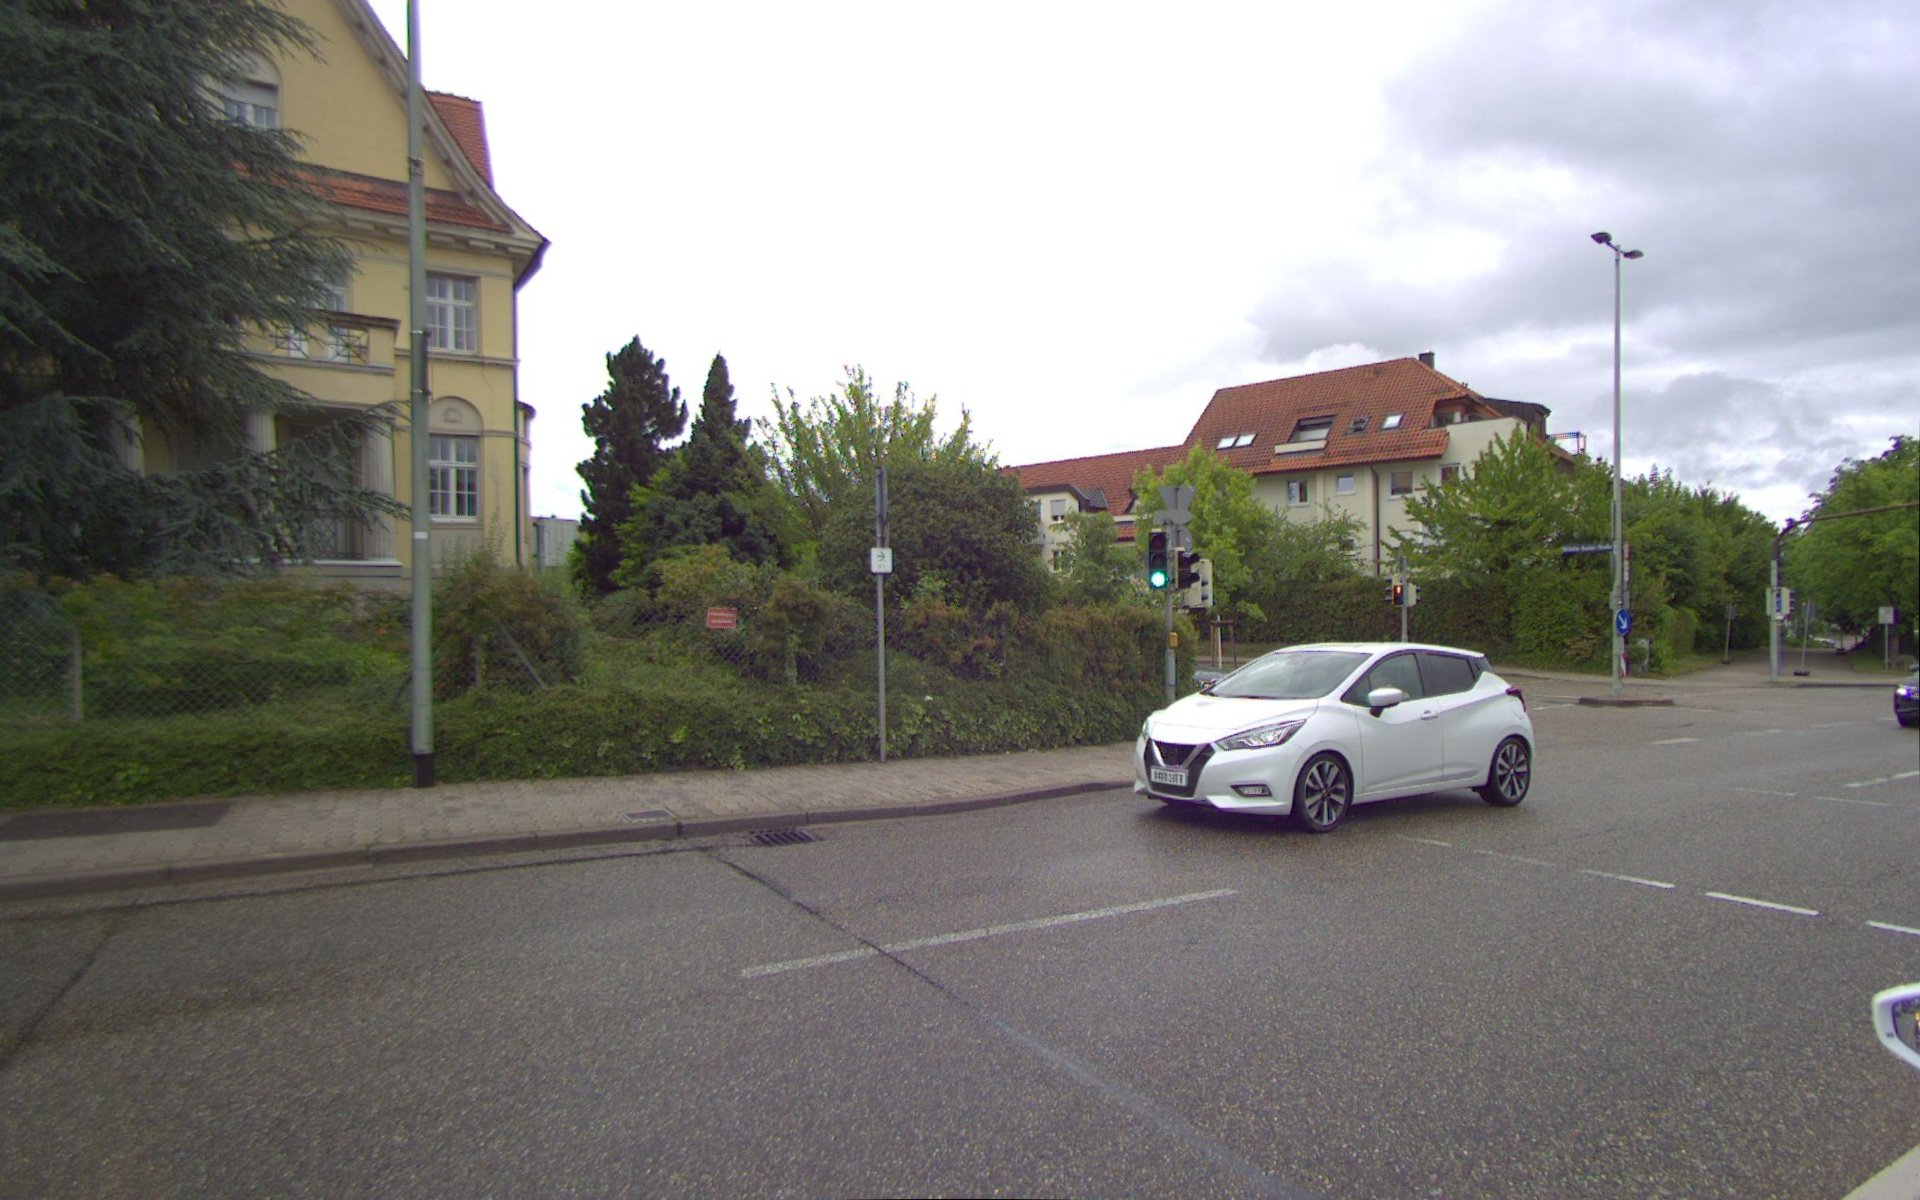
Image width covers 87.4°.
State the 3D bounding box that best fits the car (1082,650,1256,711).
[{"bbox_3d":[5.320,2.048,26.131,1.759,1.411,4.392,0,-3,-35],"label":"car"}]

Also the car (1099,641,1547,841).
[{"bbox_3d":[3.253,1.093,8.882,3.758,1.415,1.738,1,-4,-31],"label":"car"}]

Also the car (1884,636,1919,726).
[{"bbox_3d":[18.228,1.401,17.670,4.421,1.522,1.767,2,-2,-31],"label":"car"}]
